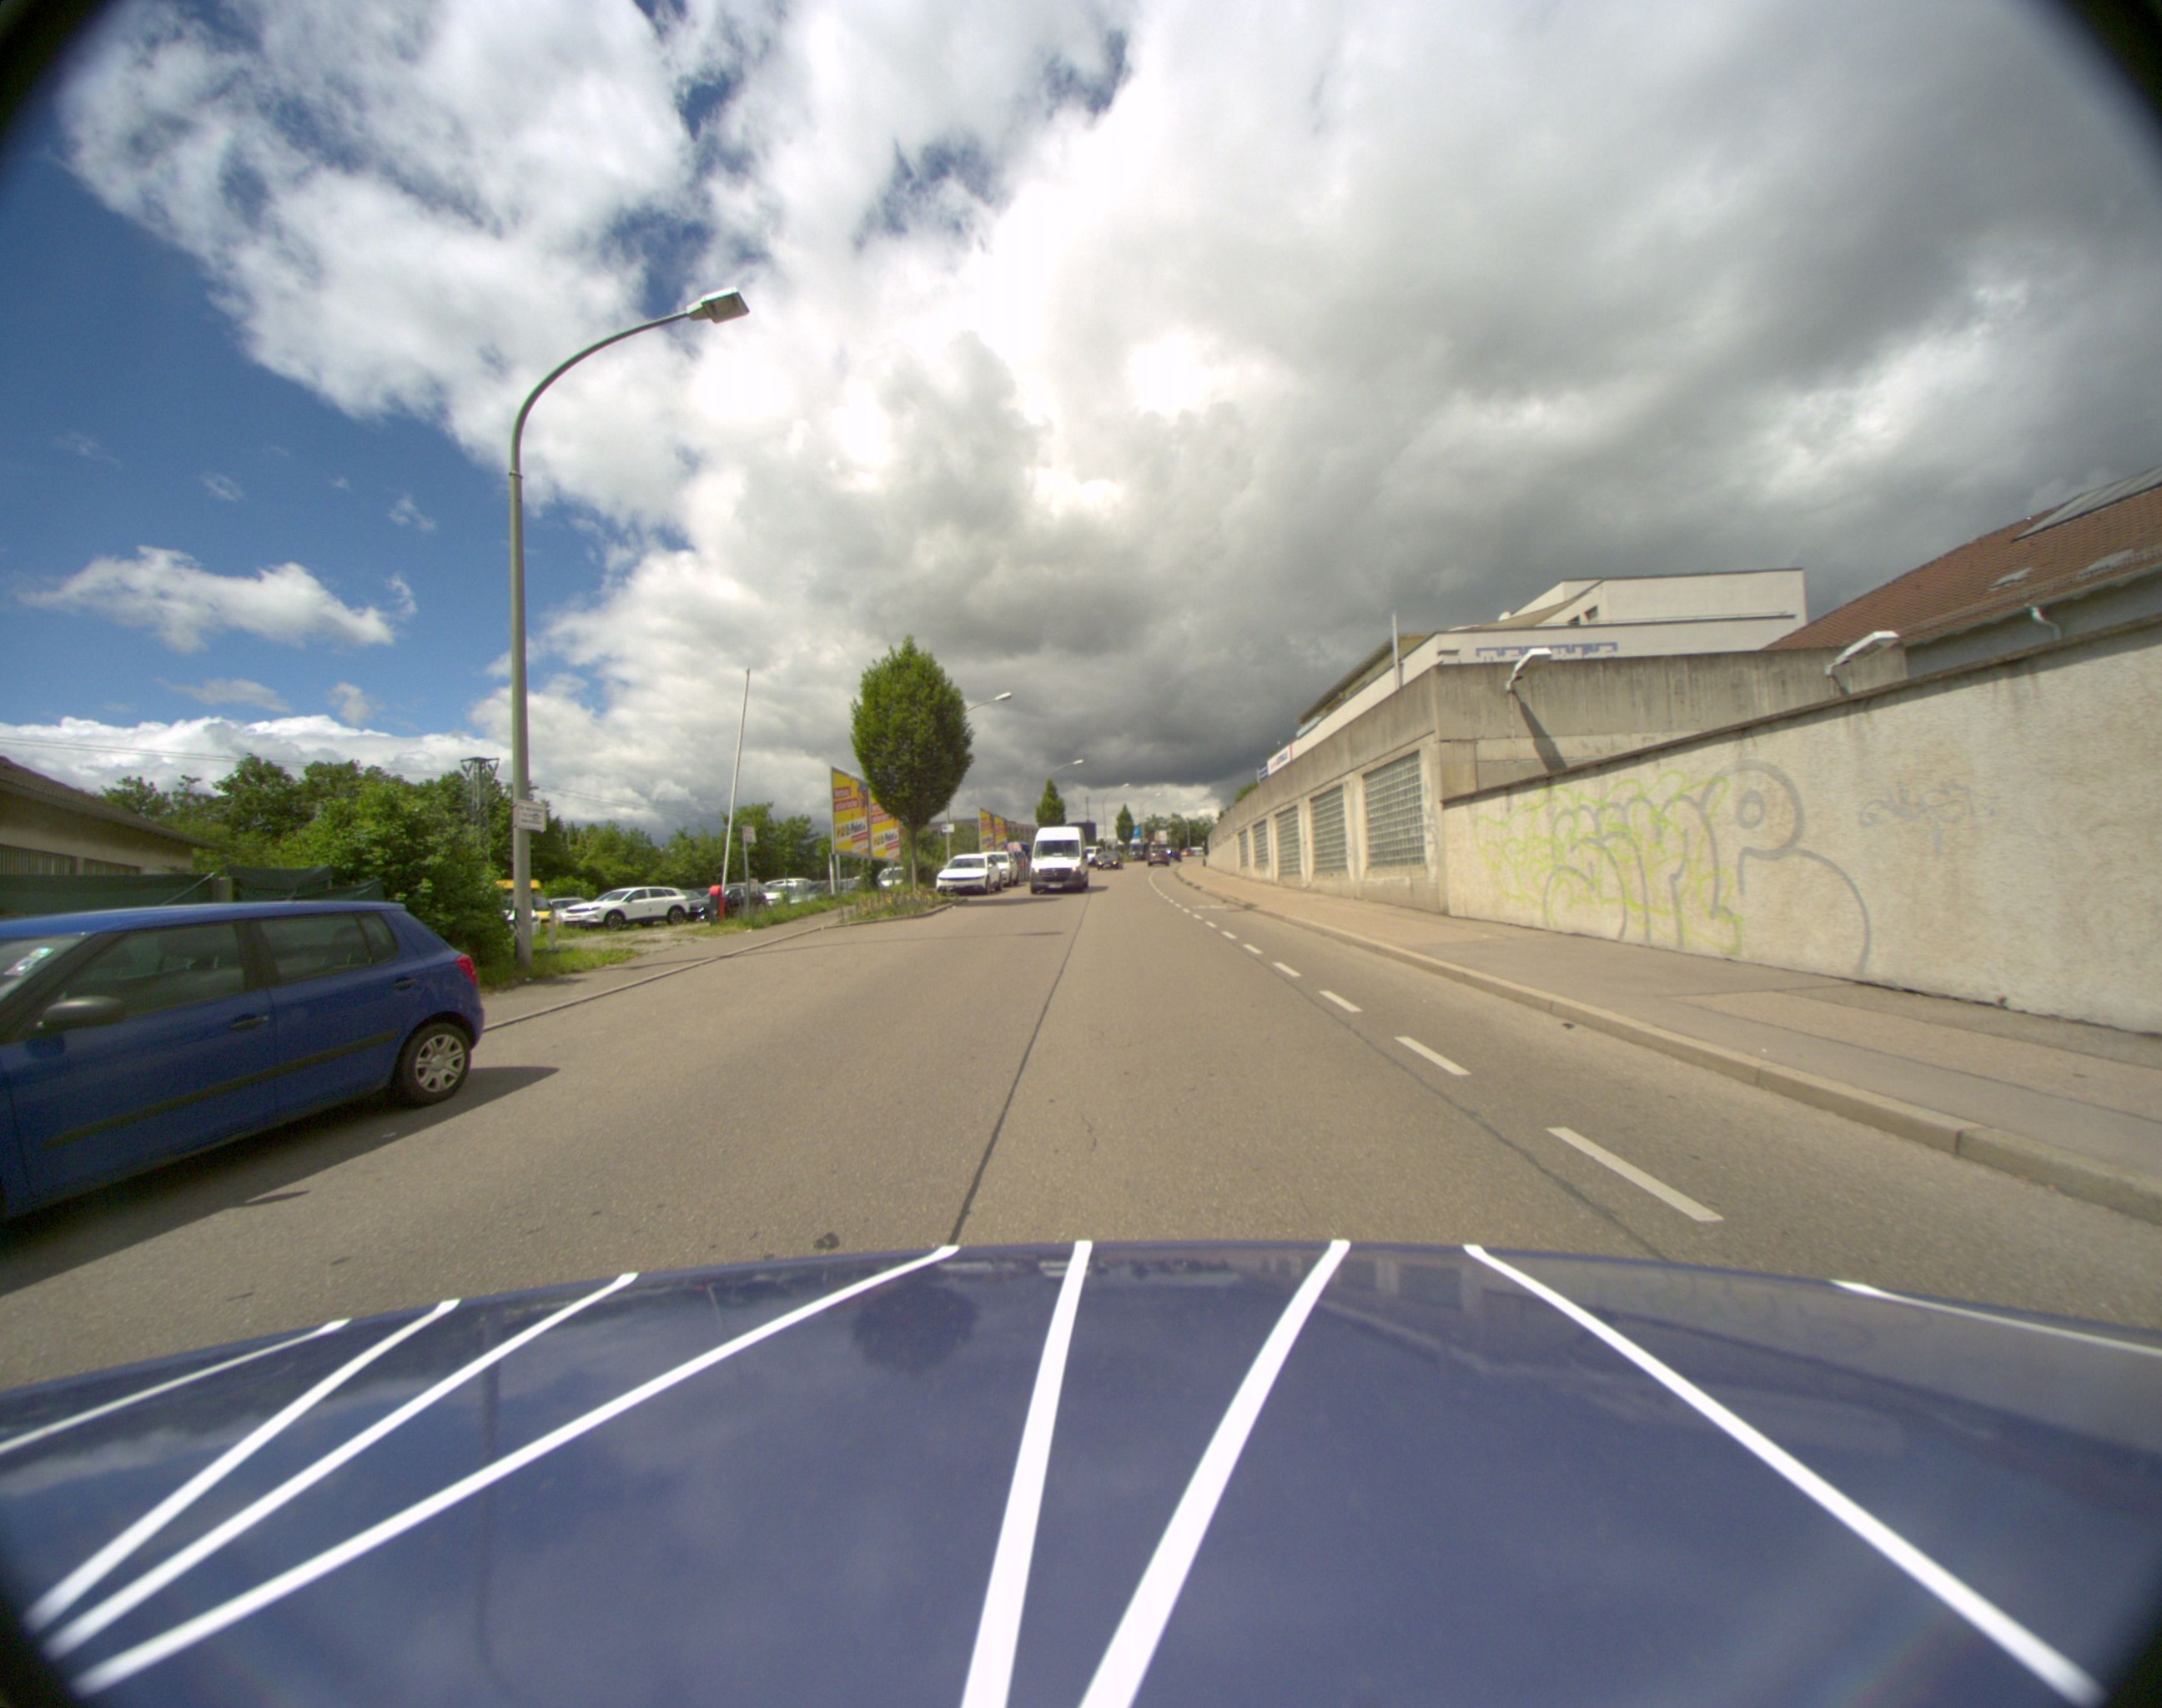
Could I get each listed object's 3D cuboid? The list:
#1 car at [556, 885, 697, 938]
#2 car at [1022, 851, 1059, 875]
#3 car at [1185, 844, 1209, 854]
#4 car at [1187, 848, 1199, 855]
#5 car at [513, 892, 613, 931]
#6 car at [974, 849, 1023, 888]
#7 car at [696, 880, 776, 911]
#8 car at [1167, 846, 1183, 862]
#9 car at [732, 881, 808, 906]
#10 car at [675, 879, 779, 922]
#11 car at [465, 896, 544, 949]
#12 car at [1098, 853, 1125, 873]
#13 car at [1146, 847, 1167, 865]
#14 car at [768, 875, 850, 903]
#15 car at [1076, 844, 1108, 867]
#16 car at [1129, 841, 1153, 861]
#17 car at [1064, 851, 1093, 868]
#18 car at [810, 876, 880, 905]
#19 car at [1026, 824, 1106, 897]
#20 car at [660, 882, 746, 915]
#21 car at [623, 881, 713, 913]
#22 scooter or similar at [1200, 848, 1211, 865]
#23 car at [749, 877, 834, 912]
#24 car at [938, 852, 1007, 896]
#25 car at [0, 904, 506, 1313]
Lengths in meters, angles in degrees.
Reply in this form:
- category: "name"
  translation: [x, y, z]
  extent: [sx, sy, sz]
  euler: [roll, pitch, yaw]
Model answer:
- category: "car"
  translation: [-17.860, 2.196, 30.158]
  extent: [1.751, 1.675, 4.686]
  euler: [0, 0, 21]
- category: "car"
  translation: [-2.643, 0.583, 50.680]
  extent: [1.658, 1.477, 4.047]
  euler: [0, 1, 9]
- category: "car"
  translation: [26.372, -1.162, 172.711]
  extent: [5.134, 1.958, 1.959]
  euler: [-3, 1, -16]
- category: "car"
  translation: [23.665, -0.523, 160.784]
  extent: [1.603, 1.482, 3.686]
  euler: [-2, 1, 20]
- category: "car"
  translation: [-21.903, 2.375, 32.115]
  extent: [4.176, 1.382, 1.793]
  euler: [0, 1, 29]
- category: "car"
  translation: [-3.862, 0.642, 36.271]
  extent: [1.689, 1.650, 4.480]
  euler: [-2, 1, 2]
- category: "car"
  translation: [-19.326, 2.310, 42.561]
  extent: [3.991, 1.550, 1.825]
  euler: [-2, 1, 23]
- category: "car"
  translation: [10.802, -0.020, 87.615]
  extent: [1.630, 1.807, 3.781]
  euler: [-1, 1, 5]
- category: "car"
  translation: [-18.338, 2.314, 44.824]
  extent: [3.991, 1.322, 1.758]
  euler: [-2, 1, 23]
- category: "car"
  translation: [-16.294, 2.090, 35.288]
  extent: [1.814, 1.612, 4.468]
  euler: [0, 1, 17]
- category: "car"
  translation: [-17.599, 2.017, 23.150]
  extent: [1.747, 1.381, 4.034]
  euler: [-1, -2, -39]
- category: "car"
  translation: [2.561, 0.736, 62.834]
  extent: [1.583, 1.497, 3.960]
  euler: [-2, 1, 11]
- category: "car"
  translation: [7.072, 0.189, 71.294]
  extent: [1.803, 1.613, 4.093]
  euler: [-1, 1, 4]
- category: "car"
  translation: [-16.785, 2.138, 46.973]
  extent: [4.451, 1.546, 2.003]
  euler: [-2, 1, 20]
- category: "car"
  translation: [1.101, 0.110, 73.274]
  extent: [1.978, 1.992, 5.551]
  euler: [-2, 0, 12]
- category: "car"
  translation: [8.107, -0.466, 102.134]
  extent: [2.057, 2.579, 5.740]
  euler: [-2, 1, 16]
- category: "car"
  translation: [-0.220, 0.459, 66.239]
  extent: [1.640, 1.379, 4.208]
  euler: [-2, 0, 12]
- category: "car"
  translation: [-13.788, 2.106, 44.639]
  extent: [1.696, 1.438, 4.159]
  euler: [-3, 0, 21]
- category: "car"
  translation: [-0.464, 0.201, 30.601]
  extent: [2.081, 2.576, 6.066]
  euler: [-2, 1, 9]
- category: "car"
  translation: [-19.808, 2.331, 39.866]
  extent: [3.991, 1.602, 1.799]
  euler: [-2, 1, 23]
- category: "car"
  translation: [-20.399, 2.098, 37.568]
  extent: [4.033, 1.382, 1.746]
  euler: [0, 1, 23]
- category: "scooter or similar"
  translation: [9.428, 0.201, 57.726]
  extent: [0.520, 1.268, 1.383]
  euler: [-4, 1, 0]
- category: "car"
  translation: [-15.058, 2.062, 39.840]
  extent: [1.754, 1.509, 4.587]
  euler: [0, 1, 16]
- category: "car"
  translation: [-4.241, 0.750, 30.299]
  extent: [1.846, 1.556, 4.466]
  euler: [-1, 1, 3]
- category: "car"
  translation: [-5.314, 1.190, 3.849]
  extent: [1.571, 1.501, 4.093]
  euler: [-2, 1, 1]
